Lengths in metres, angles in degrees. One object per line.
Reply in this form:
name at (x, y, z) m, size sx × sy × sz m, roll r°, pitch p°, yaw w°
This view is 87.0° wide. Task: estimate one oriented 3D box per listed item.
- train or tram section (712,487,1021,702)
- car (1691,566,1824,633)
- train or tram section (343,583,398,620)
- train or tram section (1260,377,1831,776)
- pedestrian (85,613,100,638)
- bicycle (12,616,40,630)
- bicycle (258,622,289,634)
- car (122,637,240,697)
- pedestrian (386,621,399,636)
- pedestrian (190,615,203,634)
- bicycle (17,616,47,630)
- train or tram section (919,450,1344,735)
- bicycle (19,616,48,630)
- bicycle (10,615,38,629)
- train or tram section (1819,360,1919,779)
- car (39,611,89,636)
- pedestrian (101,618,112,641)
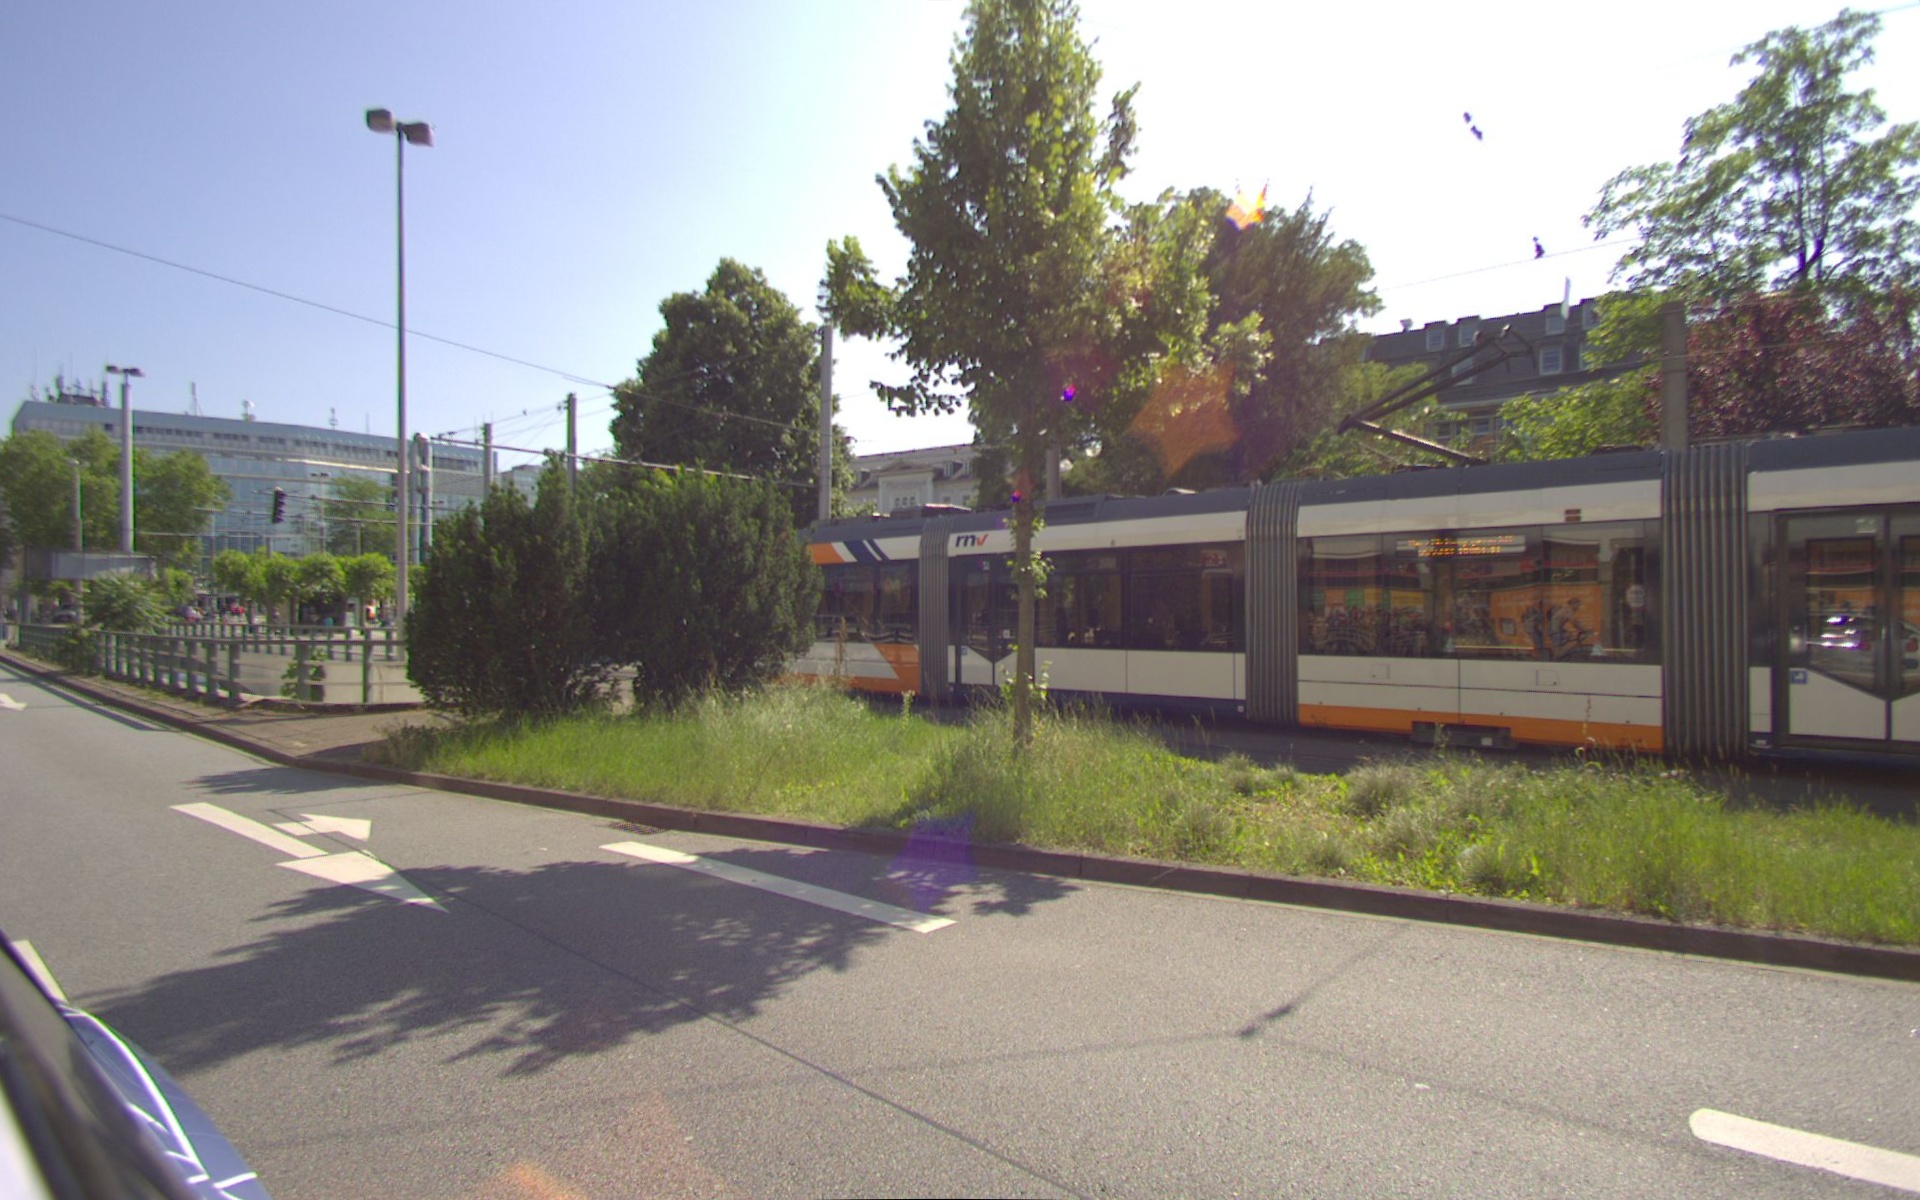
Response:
train or tram section at (-2.005, -0.136, 19.995) m, size 6.103 × 3.607 × 2.586 m, roll 0°, pitch 2°, yaw 43°
car at (42.220, -0.055, 53.659) m, size 5.419 × 3.341 × 2.104 m, roll 0°, pitch 2°, yaw 42°
train or tram section at (-65.799, 0.109, 113.137) m, size 2.578 × 3.855 × 9.546 m, roll -2°, pitch 2°, yaw -14°
train or tram section at (6.674, -0.225, 11.940) m, size 5.356 × 3.607 × 2.585 m, roll -1°, pitch 1°, yaw 43°
pedestrian at (-61.524, 1.834, 71.770) m, size 0.582 × 1.747 × 0.524 m, roll 0°, pitch -2°, yaw 13°
bicycle at (-80.037, 1.943, 86.726) m, size 0.482 × 1.156 × 1.734 m, roll 0°, pitch 1°, yaw 40°
bicycle at (-52.687, 2.142, 77.689) m, size 0.544 × 0.862 × 1.852 m, roll -1°, pitch 2°, yaw 30°
car at (-20.733, 1.758, 26.889) m, size 3.998 × 1.415 × 1.677 m, roll -1°, pitch -4°, yaw 41°
pedestrian at (-38.972, 1.931, 69.547) m, size 0.627 × 1.008 × 0.580 m, roll 3°, pitch -3°, yaw -45°
pedestrian at (-61.661, 1.984, 81.718) m, size 0.549 × 1.477 × 0.621 m, roll 0°, pitch -2°, yaw 20°
bicycle at (-78.516, 1.937, 85.616) m, size 0.482 × 1.156 × 1.841 m, roll 0°, pitch 1°, yaw 40°
train or tram section at (2.464, -0.145, 15.841) m, size 6.103 × 3.607 × 2.585 m, roll 0°, pitch 2°, yaw 43°
bicycle at (-77.876, 1.936, 85.068) m, size 0.482 × 1.156 × 1.734 m, roll 0°, pitch 1°, yaw 40°
bicycle at (-81.364, 1.938, 88.019) m, size 0.482 × 1.156 × 1.734 m, roll 0°, pitch 1°, yaw 40°
train or tram section at (11.192, -0.334, 7.764) m, size 6.897 × 3.607 × 2.585 m, roll -1°, pitch 1°, yaw 43°
car at (-79.528, 2.050, 89.919) m, size 1.965 × 2.028 × 5.084 m, roll -2°, pitch 2°, yaw -26°
pedestrian at (-60.949, 2.106, 72.246) m, size 0.518 × 1.621 × 0.627 m, roll 3°, pitch -3°, yaw -38°
